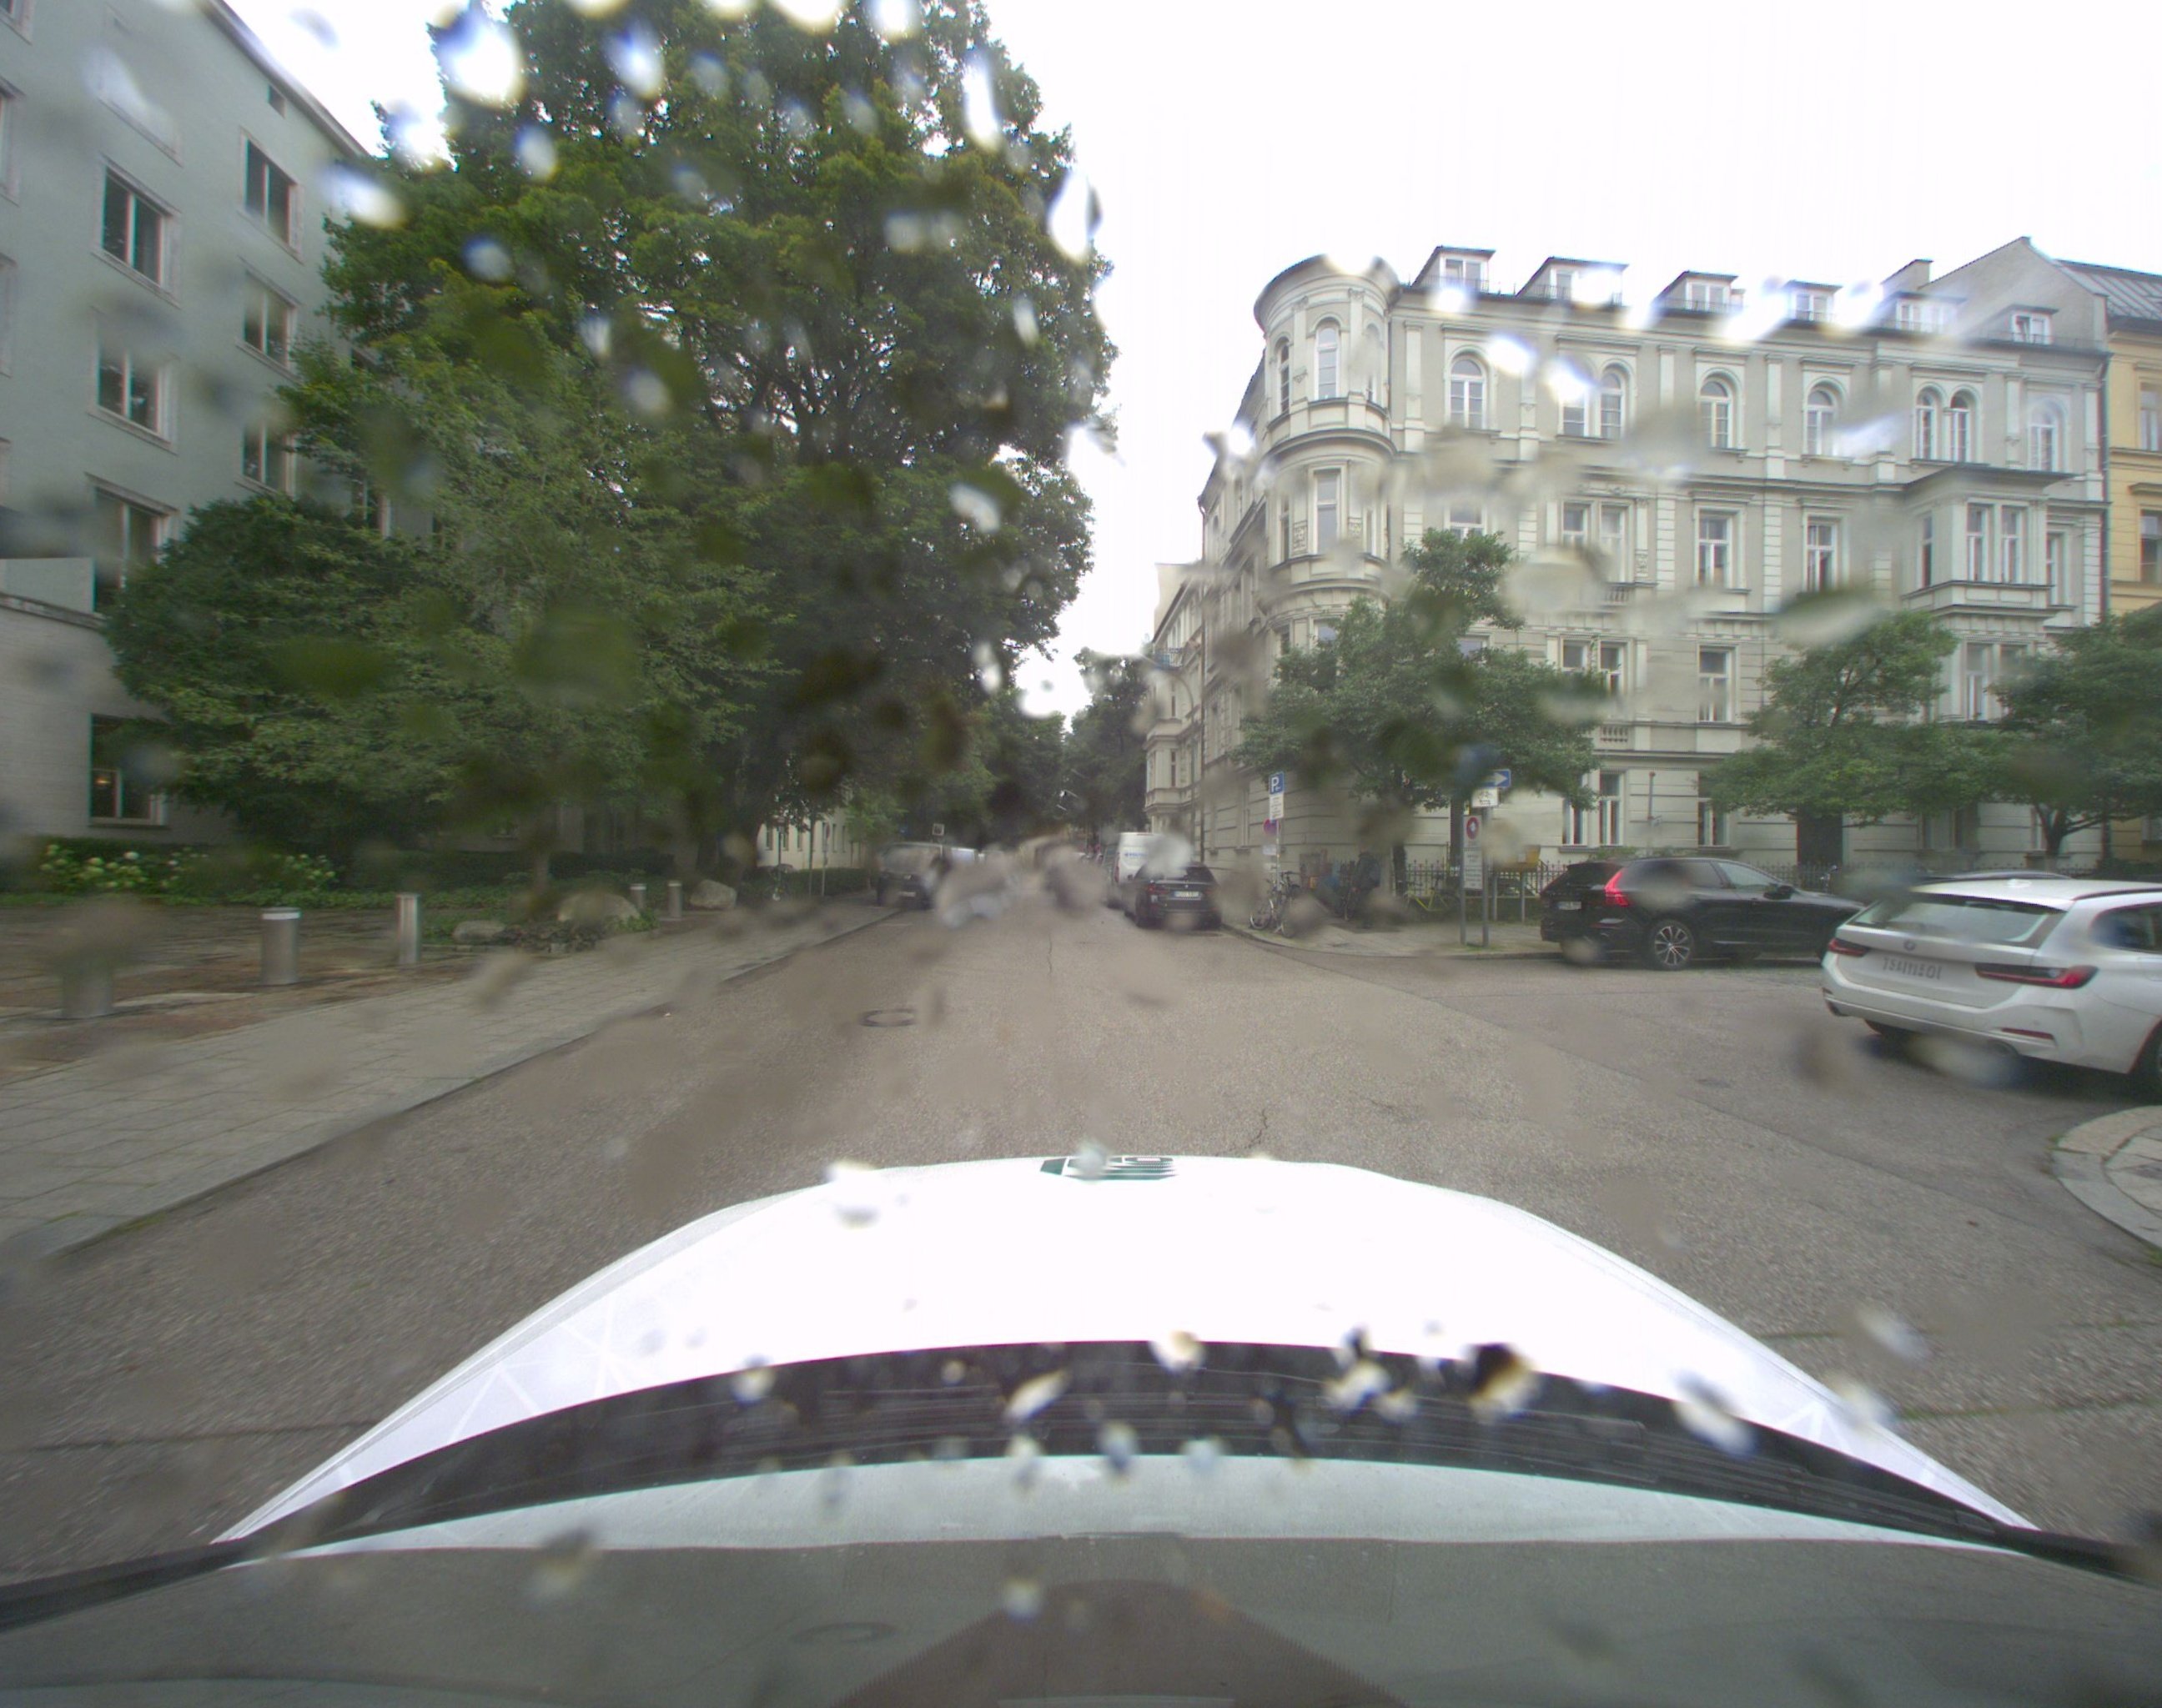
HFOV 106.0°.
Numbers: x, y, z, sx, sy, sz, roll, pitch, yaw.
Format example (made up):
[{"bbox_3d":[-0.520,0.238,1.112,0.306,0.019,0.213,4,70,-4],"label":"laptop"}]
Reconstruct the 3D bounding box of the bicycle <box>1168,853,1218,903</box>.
[{"bbox_3d":[3.535,0.729,25.862,0.710,1.515,2.024,0,0,-21],"label":"bicycle"}]

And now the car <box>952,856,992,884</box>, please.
[{"bbox_3d":[-6.449,0.934,48.594,2.065,1.519,4.231,2,0,-4],"label":"car"}]

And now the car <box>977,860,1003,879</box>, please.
[{"bbox_3d":[-6.903,1.127,61.777,1.817,1.329,4.090,2,0,-7],"label":"car"}]

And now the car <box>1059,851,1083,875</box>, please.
[{"bbox_3d":[-0.851,0.764,69.133,1.988,1.975,3.997,0,0,-2],"label":"car"}]

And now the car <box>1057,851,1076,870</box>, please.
[{"bbox_3d":[-1.597,0.713,88.293,1.988,2.013,3.997,0,0,-2],"label":"car"}]

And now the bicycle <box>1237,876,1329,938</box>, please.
[{"bbox_3d":[3.908,0.987,15.950,0.656,1.028,2.188,0,1,-19],"label":"bicycle"}]

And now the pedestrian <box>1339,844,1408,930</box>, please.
[{"bbox_3d":[5.929,0.644,16.524,0.864,1.689,0.965,0,0,-35],"label":"pedestrian"}]

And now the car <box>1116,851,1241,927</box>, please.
[{"bbox_3d":[2.145,0.737,19.271,2.266,1.546,4.583,-1,0,-2],"label":"car"}]

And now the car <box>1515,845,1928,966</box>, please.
[{"bbox_3d":[9.598,0.794,12.432,5.032,1.653,1.939,1,-4,-7],"label":"car"}]

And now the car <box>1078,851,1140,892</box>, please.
[{"bbox_3d":[1.137,0.730,35.026,2.135,1.630,4.307,-1,0,-5],"label":"car"}]

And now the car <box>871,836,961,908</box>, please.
[{"bbox_3d":[-5.022,0.516,25.540,2.245,1.956,5.441,2,0,-7],"label":"car"}]

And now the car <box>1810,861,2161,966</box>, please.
[{"bbox_3d":[14.824,0.897,13.075,5.159,1.505,1.805,0,-3,-9],"label":"car"}]

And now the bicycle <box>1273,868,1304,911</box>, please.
[{"bbox_3d":[5.560,0.927,21.883,0.543,1.060,1.753,0,0,5],"label":"bicycle"}]

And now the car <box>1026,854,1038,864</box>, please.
[{"bbox_3d":[-8.580,0.904,143.813,1.988,1.783,3.997,0,0,-2],"label":"car"}]

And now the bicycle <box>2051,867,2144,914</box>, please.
[{"bbox_3d":[24.012,0.856,19.243,1.823,1.102,0.372,0,0,-3],"label":"bicycle"}]

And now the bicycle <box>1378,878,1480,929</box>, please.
[{"bbox_3d":[7.316,1.028,17.143,1.917,1.028,0.557,0,1,-2],"label":"bicycle"}]

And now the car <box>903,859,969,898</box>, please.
[{"bbox_3d":[-5.519,0.897,31.427,2.210,1.329,3.939,2,0,-7],"label":"car"}]

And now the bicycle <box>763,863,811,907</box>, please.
[{"bbox_3d":[-7.766,0.794,21.593,0.631,1.102,1.766,2,-1,-2],"label":"bicycle"}]

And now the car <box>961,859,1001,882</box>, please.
[{"bbox_3d":[-6.526,1.058,53.518,2.112,1.329,4.136,2,0,-1],"label":"car"}]

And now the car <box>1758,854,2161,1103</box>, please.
[{"bbox_3d":[8.496,0.806,6.501,4.901,1.531,1.909,0,2,-7],"label":"car"}]

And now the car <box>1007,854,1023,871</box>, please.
[{"bbox_3d":[-8.943,1.089,110.223,2.045,2.154,4.304,2,0,-7],"label":"car"}]

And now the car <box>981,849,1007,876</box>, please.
[{"bbox_3d":[-7.452,0.712,70.149,1.999,2.186,4.688,2,0,-5],"label":"car"}]

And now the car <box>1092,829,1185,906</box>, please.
[{"bbox_3d":[1.727,0.403,26.217,2.200,2.208,4.846,-1,0,-5],"label":"car"}]

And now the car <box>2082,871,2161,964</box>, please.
[{"bbox_3d":[19.433,1.034,13.624,3.712,1.517,1.704,0,-2,-8],"label":"car"}]

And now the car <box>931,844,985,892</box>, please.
[{"bbox_3d":[-5.553,0.599,37.238,2.181,1.956,5.155,2,0,-7],"label":"car"}]

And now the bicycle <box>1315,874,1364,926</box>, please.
[{"bbox_3d":[5.800,1.007,18.342,0.428,1.028,1.889,0,1,-2],"label":"bicycle"}]
